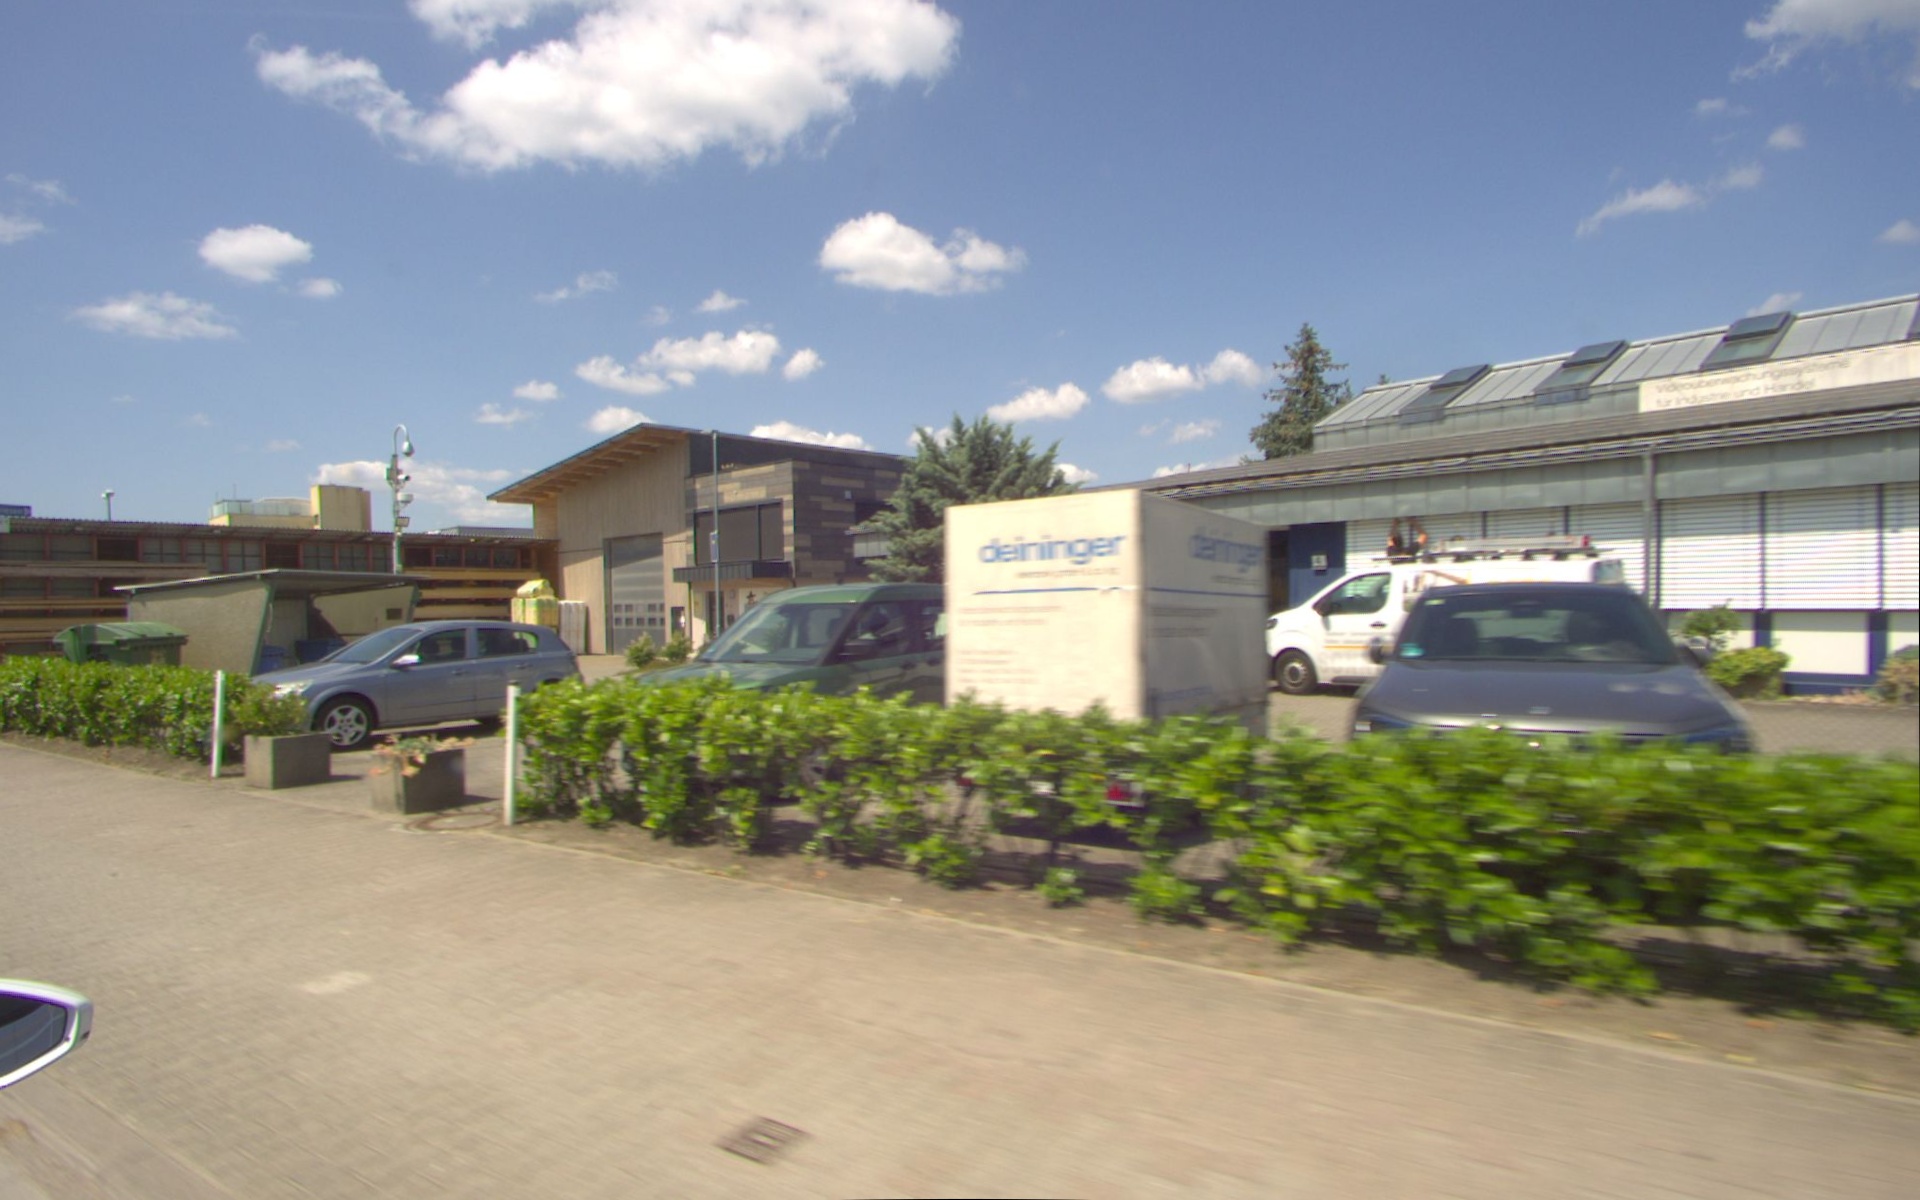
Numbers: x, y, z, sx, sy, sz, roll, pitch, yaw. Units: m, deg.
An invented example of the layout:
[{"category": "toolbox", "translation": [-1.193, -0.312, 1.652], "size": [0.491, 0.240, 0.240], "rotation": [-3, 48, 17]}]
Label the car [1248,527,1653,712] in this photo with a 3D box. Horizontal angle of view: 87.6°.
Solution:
[{"category": "car", "translation": [6.683, 0.239, 14.046], "size": [2.085, 2.154, 4.672], "rotation": [-3, 1, -43]}]

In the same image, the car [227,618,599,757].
[{"category": "car", "translation": [-6.844, 0.984, 12.896], "size": [1.792, 1.474, 3.836], "rotation": [-1, -1, 34]}]

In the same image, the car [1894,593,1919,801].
[{"category": "car", "translation": [6.688, 0.655, 5.110], "size": [1.788, 1.459, 4.469], "rotation": [-1, -1, 29]}]

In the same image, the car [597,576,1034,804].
[{"category": "car", "translation": [-1.082, 0.658, 9.505], "size": [1.775, 1.655, 4.203], "rotation": [-3, 0, 31]}]

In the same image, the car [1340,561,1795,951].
[{"category": "car", "translation": [3.554, 0.654, 6.279], "size": [1.688, 1.595, 4.030], "rotation": [-3, 0, 27]}]

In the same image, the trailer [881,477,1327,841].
[{"category": "trailer", "translation": [1.373, 0.361, 7.824], "size": [1.972, 2.040, 3.978], "rotation": [-1, -1, 33]}]

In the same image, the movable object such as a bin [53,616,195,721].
[{"category": "movable object such as a bin", "translation": [-12.169, 0.973, 14.634], "size": [1.029, 1.477, 1.267], "rotation": [0, -1, -4]}]

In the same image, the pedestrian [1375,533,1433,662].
[{"category": "pedestrian", "translation": [7.027, -0.029, 15.838], "size": [0.680, 1.968, 0.714], "rotation": [-3, 0, 32]}]
